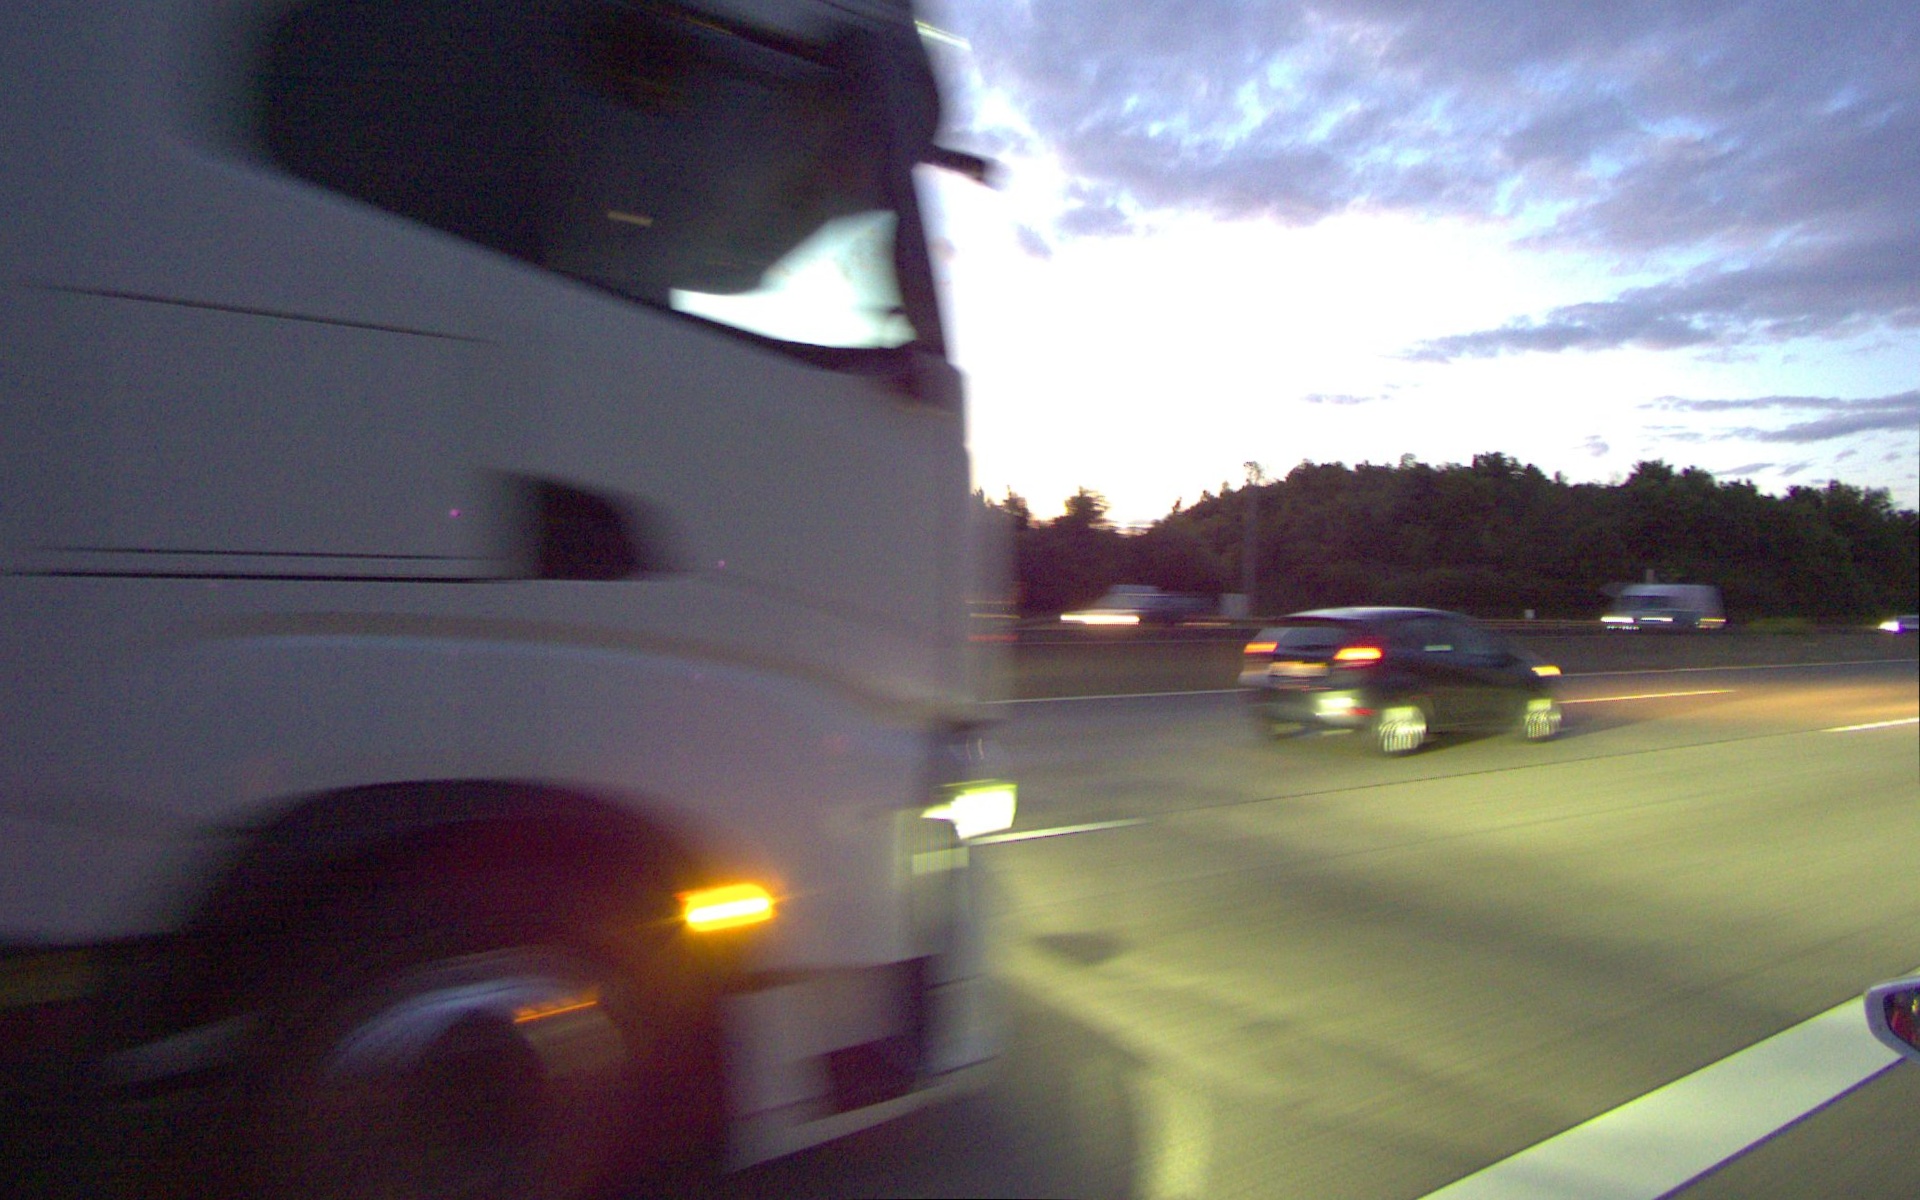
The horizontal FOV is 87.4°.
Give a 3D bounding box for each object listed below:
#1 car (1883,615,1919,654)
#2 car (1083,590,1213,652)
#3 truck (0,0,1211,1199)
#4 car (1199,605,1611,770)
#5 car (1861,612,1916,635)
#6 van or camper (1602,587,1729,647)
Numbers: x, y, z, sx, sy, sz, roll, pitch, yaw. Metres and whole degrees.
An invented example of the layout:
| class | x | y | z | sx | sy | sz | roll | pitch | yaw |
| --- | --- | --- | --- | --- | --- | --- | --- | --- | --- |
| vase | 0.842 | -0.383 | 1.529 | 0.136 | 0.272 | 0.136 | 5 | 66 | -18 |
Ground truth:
| class | x | y | z | sx | sy | sz | roll | pitch | yaw |
| --- | --- | --- | --- | --- | --- | --- | --- | --- | --- |
| car | 53.606 | 1.933 | 56.072 | 3.954 | 2.041 | 1.983 | 1 | 1 | -31 |
| car | 6.505 | 0.713 | 34.706 | 4.192 | 2.040 | 2.016 | 1 | 0 | -32 |
| truck | -2.589 | -0.483 | 2.480 | 6.084 | 3.954 | 2.765 | 1 | 0 | -31 |
| car | 5.055 | 0.848 | 11.280 | 4.494 | 1.518 | 1.984 | 1 | -1 | -30 |
| car | 69.419 | 1.739 | 75.116 | 3.954 | 1.570 | 1.983 | 1 | 2 | -31 |
| van or camper | 32.977 | 0.810 | 46.890 | 6.415 | 2.629 | 2.503 | 2 | 0 | -31 |
